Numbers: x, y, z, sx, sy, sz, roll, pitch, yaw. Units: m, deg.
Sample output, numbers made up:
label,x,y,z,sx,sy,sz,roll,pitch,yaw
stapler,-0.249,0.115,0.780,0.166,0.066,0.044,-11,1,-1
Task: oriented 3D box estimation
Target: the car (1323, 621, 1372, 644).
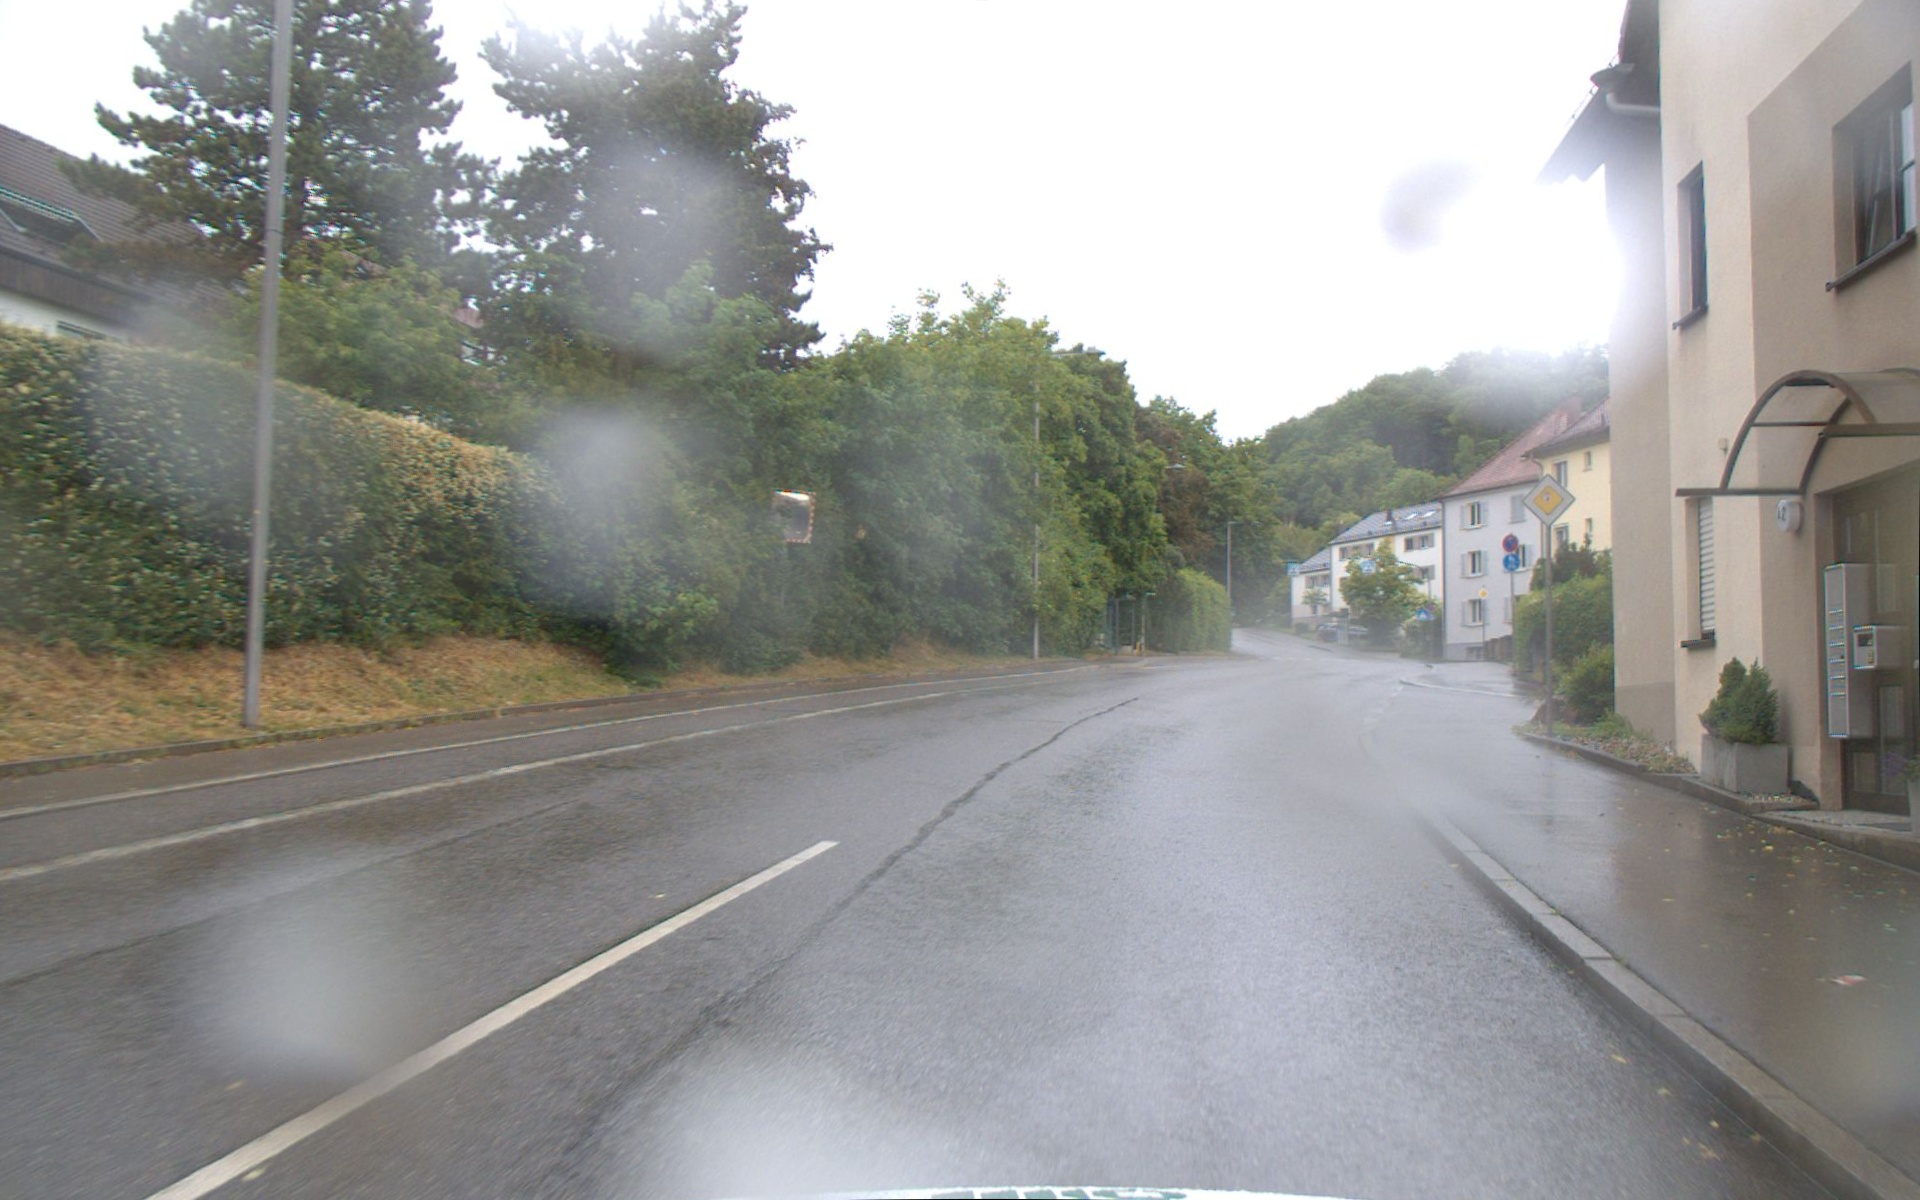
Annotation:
label,x,y,z,sx,sy,sz,roll,pitch,yaw
car,33.695,2.835,143.879,3.903,1.803,2.001,3,-2,6
